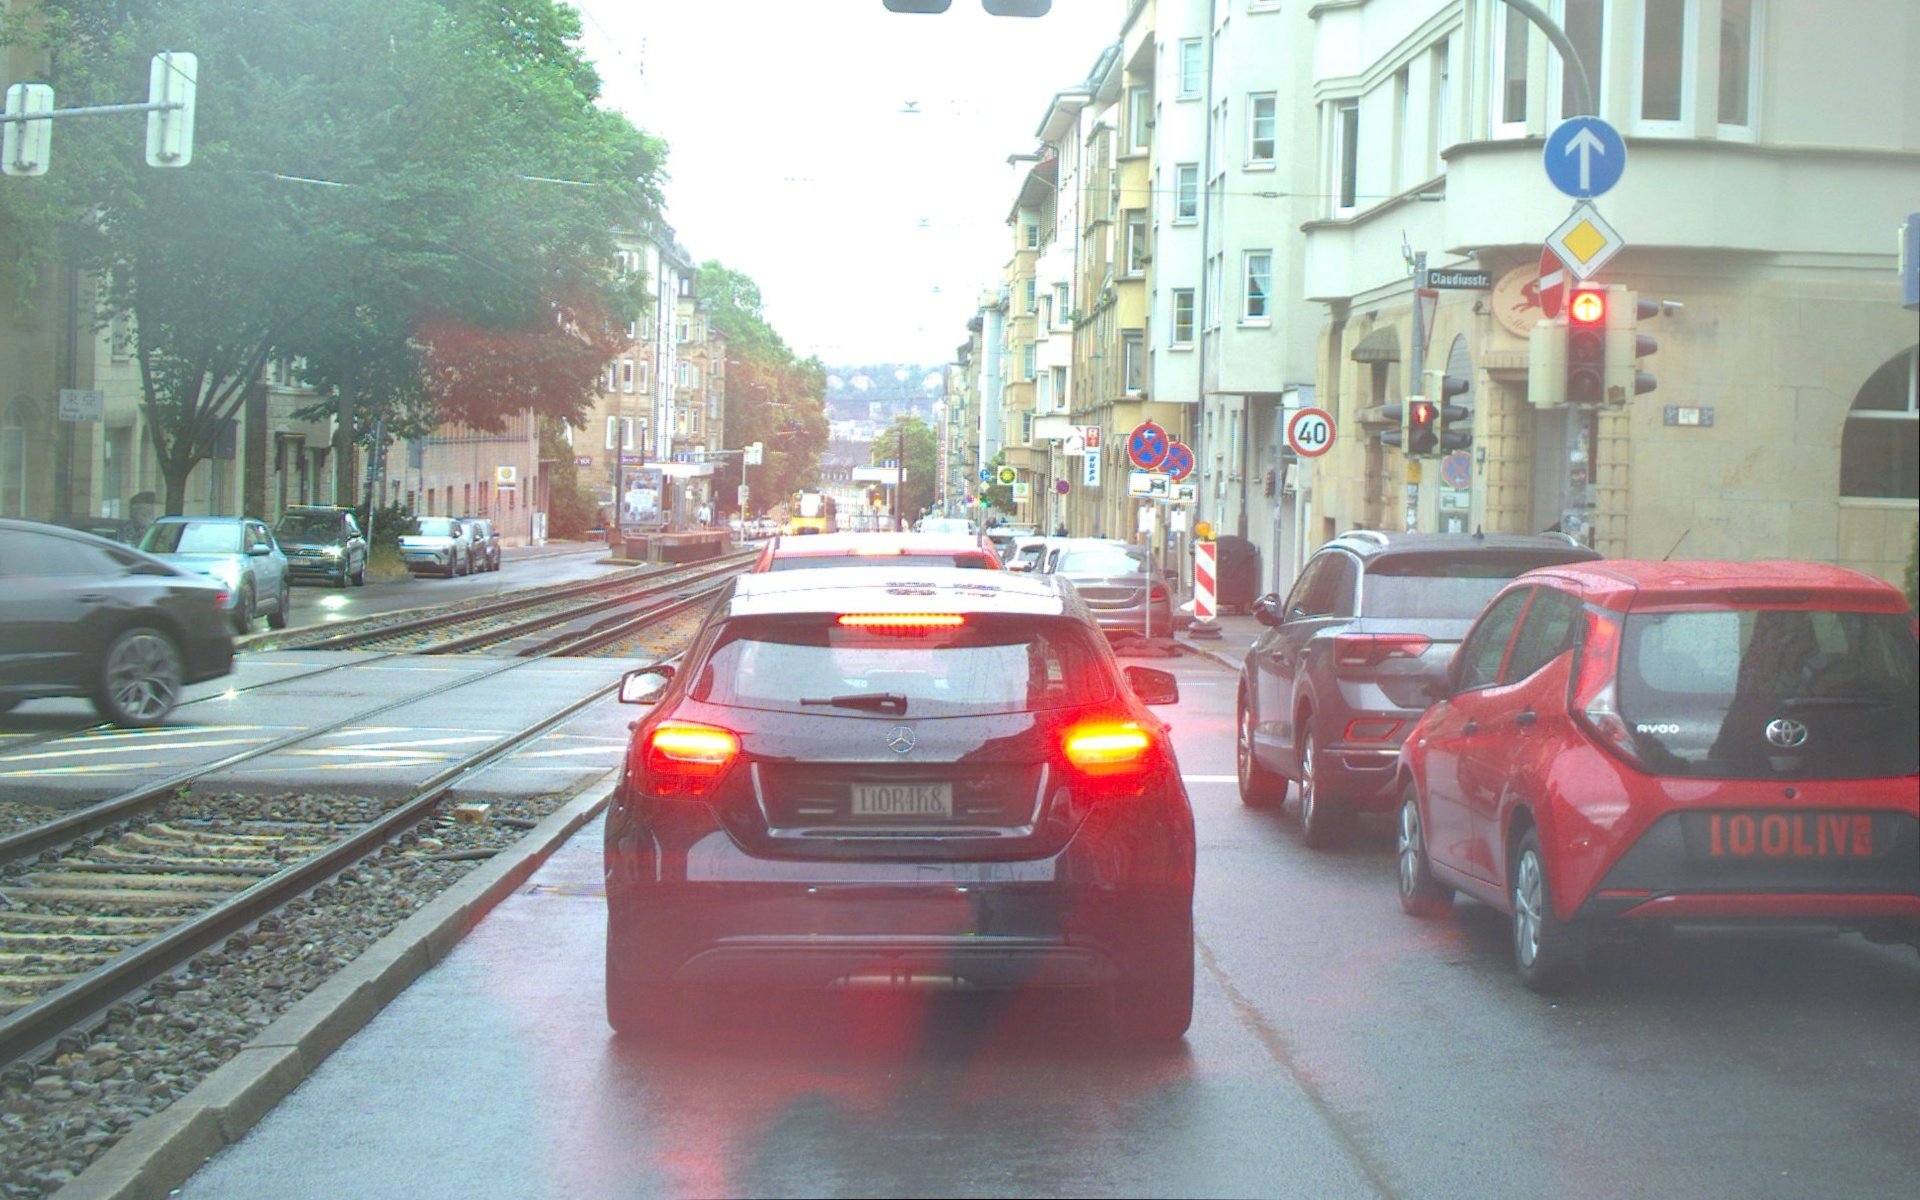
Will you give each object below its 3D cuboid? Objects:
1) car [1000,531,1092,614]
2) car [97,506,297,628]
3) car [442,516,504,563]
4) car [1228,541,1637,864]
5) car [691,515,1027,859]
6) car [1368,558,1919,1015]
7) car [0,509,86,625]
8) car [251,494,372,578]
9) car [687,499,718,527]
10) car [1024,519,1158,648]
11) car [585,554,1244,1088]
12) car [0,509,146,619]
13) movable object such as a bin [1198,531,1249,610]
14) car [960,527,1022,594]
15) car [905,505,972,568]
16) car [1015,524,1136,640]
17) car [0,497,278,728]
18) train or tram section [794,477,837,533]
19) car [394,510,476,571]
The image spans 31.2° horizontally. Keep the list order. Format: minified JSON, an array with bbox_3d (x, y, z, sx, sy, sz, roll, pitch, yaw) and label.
[{"bbox_3d":[1.579,-0.529,63.804,1.544,1.481,3.548,1,1,-1],"label":"car"},{"bbox_3d":[-10.449,-0.452,47.370,1.898,1.582,3.973,1,0,-1],"label":"car"},{"bbox_3d":[-14.276,-1.757,100.869,1.448,1.326,3.272,1,0,-2],"label":"car"},{"bbox_3d":[2.367,0.448,18.042,1.544,1.481,3.830,1,1,-1],"label":"car"},{"bbox_3d":[-0.498,0.395,18.125,1.565,1.604,3.814,1,0,-1],"label":"car"},{"bbox_3d":[2.625,0.591,12.803,1.642,1.443,3.299,1,1,-3],"label":"car"},{"bbox_3d":[-13.473,-0.470,47.987,1.752,1.547,4.036,1,0,-4],"label":"car"},{"bbox_3d":[-13.921,-1.359,73.997,1.875,1.731,3.918,1,0,-1],"label":"car"},{"bbox_3d":[-12.377,-4.184,165.376,1.377,1.245,3.298,1,0,-2],"label":"car"},{"bbox_3d":[1.675,-0.243,44.920,1.544,1.585,3.548,1,1,-1],"label":"car"},{"bbox_3d":[-0.151,0.596,11.738,1.829,1.453,4.104,1,1,-1],"label":"car"},{"bbox_3d":[-13.721,-0.557,53.018,1.716,1.605,3.919,1,0,-5],"label":"car"},{"bbox_3d":[4.736,-0.532,61.848,0.878,1.384,0.982,1,0,3],"label":"movable object such as a bin"},{"bbox_3d":[0.672,-0.885,75.874,1.294,1.437,2.929,1,1,-1],"label":"car"},{"bbox_3d":[-0.654,-1.939,105.549,1.993,1.870,4.000,1,0,-1],"label":"car"},{"bbox_3d":[1.624,-0.279,49.395,1.544,1.585,3.548,1,1,-1],"label":"car"},{"bbox_3d":[-7.109,0.061,23.054,1.807,1.518,4.953,2,1,39],"label":"car"},{"bbox_3d":[-10.583,-6.951,252.731,2.783,3.847,10.430,1,0,-1],"label":"train or tram section"},{"bbox_3d":[-13.941,-1.572,91.460,1.589,1.575,3.918,1,0,-1],"label":"car"}]
